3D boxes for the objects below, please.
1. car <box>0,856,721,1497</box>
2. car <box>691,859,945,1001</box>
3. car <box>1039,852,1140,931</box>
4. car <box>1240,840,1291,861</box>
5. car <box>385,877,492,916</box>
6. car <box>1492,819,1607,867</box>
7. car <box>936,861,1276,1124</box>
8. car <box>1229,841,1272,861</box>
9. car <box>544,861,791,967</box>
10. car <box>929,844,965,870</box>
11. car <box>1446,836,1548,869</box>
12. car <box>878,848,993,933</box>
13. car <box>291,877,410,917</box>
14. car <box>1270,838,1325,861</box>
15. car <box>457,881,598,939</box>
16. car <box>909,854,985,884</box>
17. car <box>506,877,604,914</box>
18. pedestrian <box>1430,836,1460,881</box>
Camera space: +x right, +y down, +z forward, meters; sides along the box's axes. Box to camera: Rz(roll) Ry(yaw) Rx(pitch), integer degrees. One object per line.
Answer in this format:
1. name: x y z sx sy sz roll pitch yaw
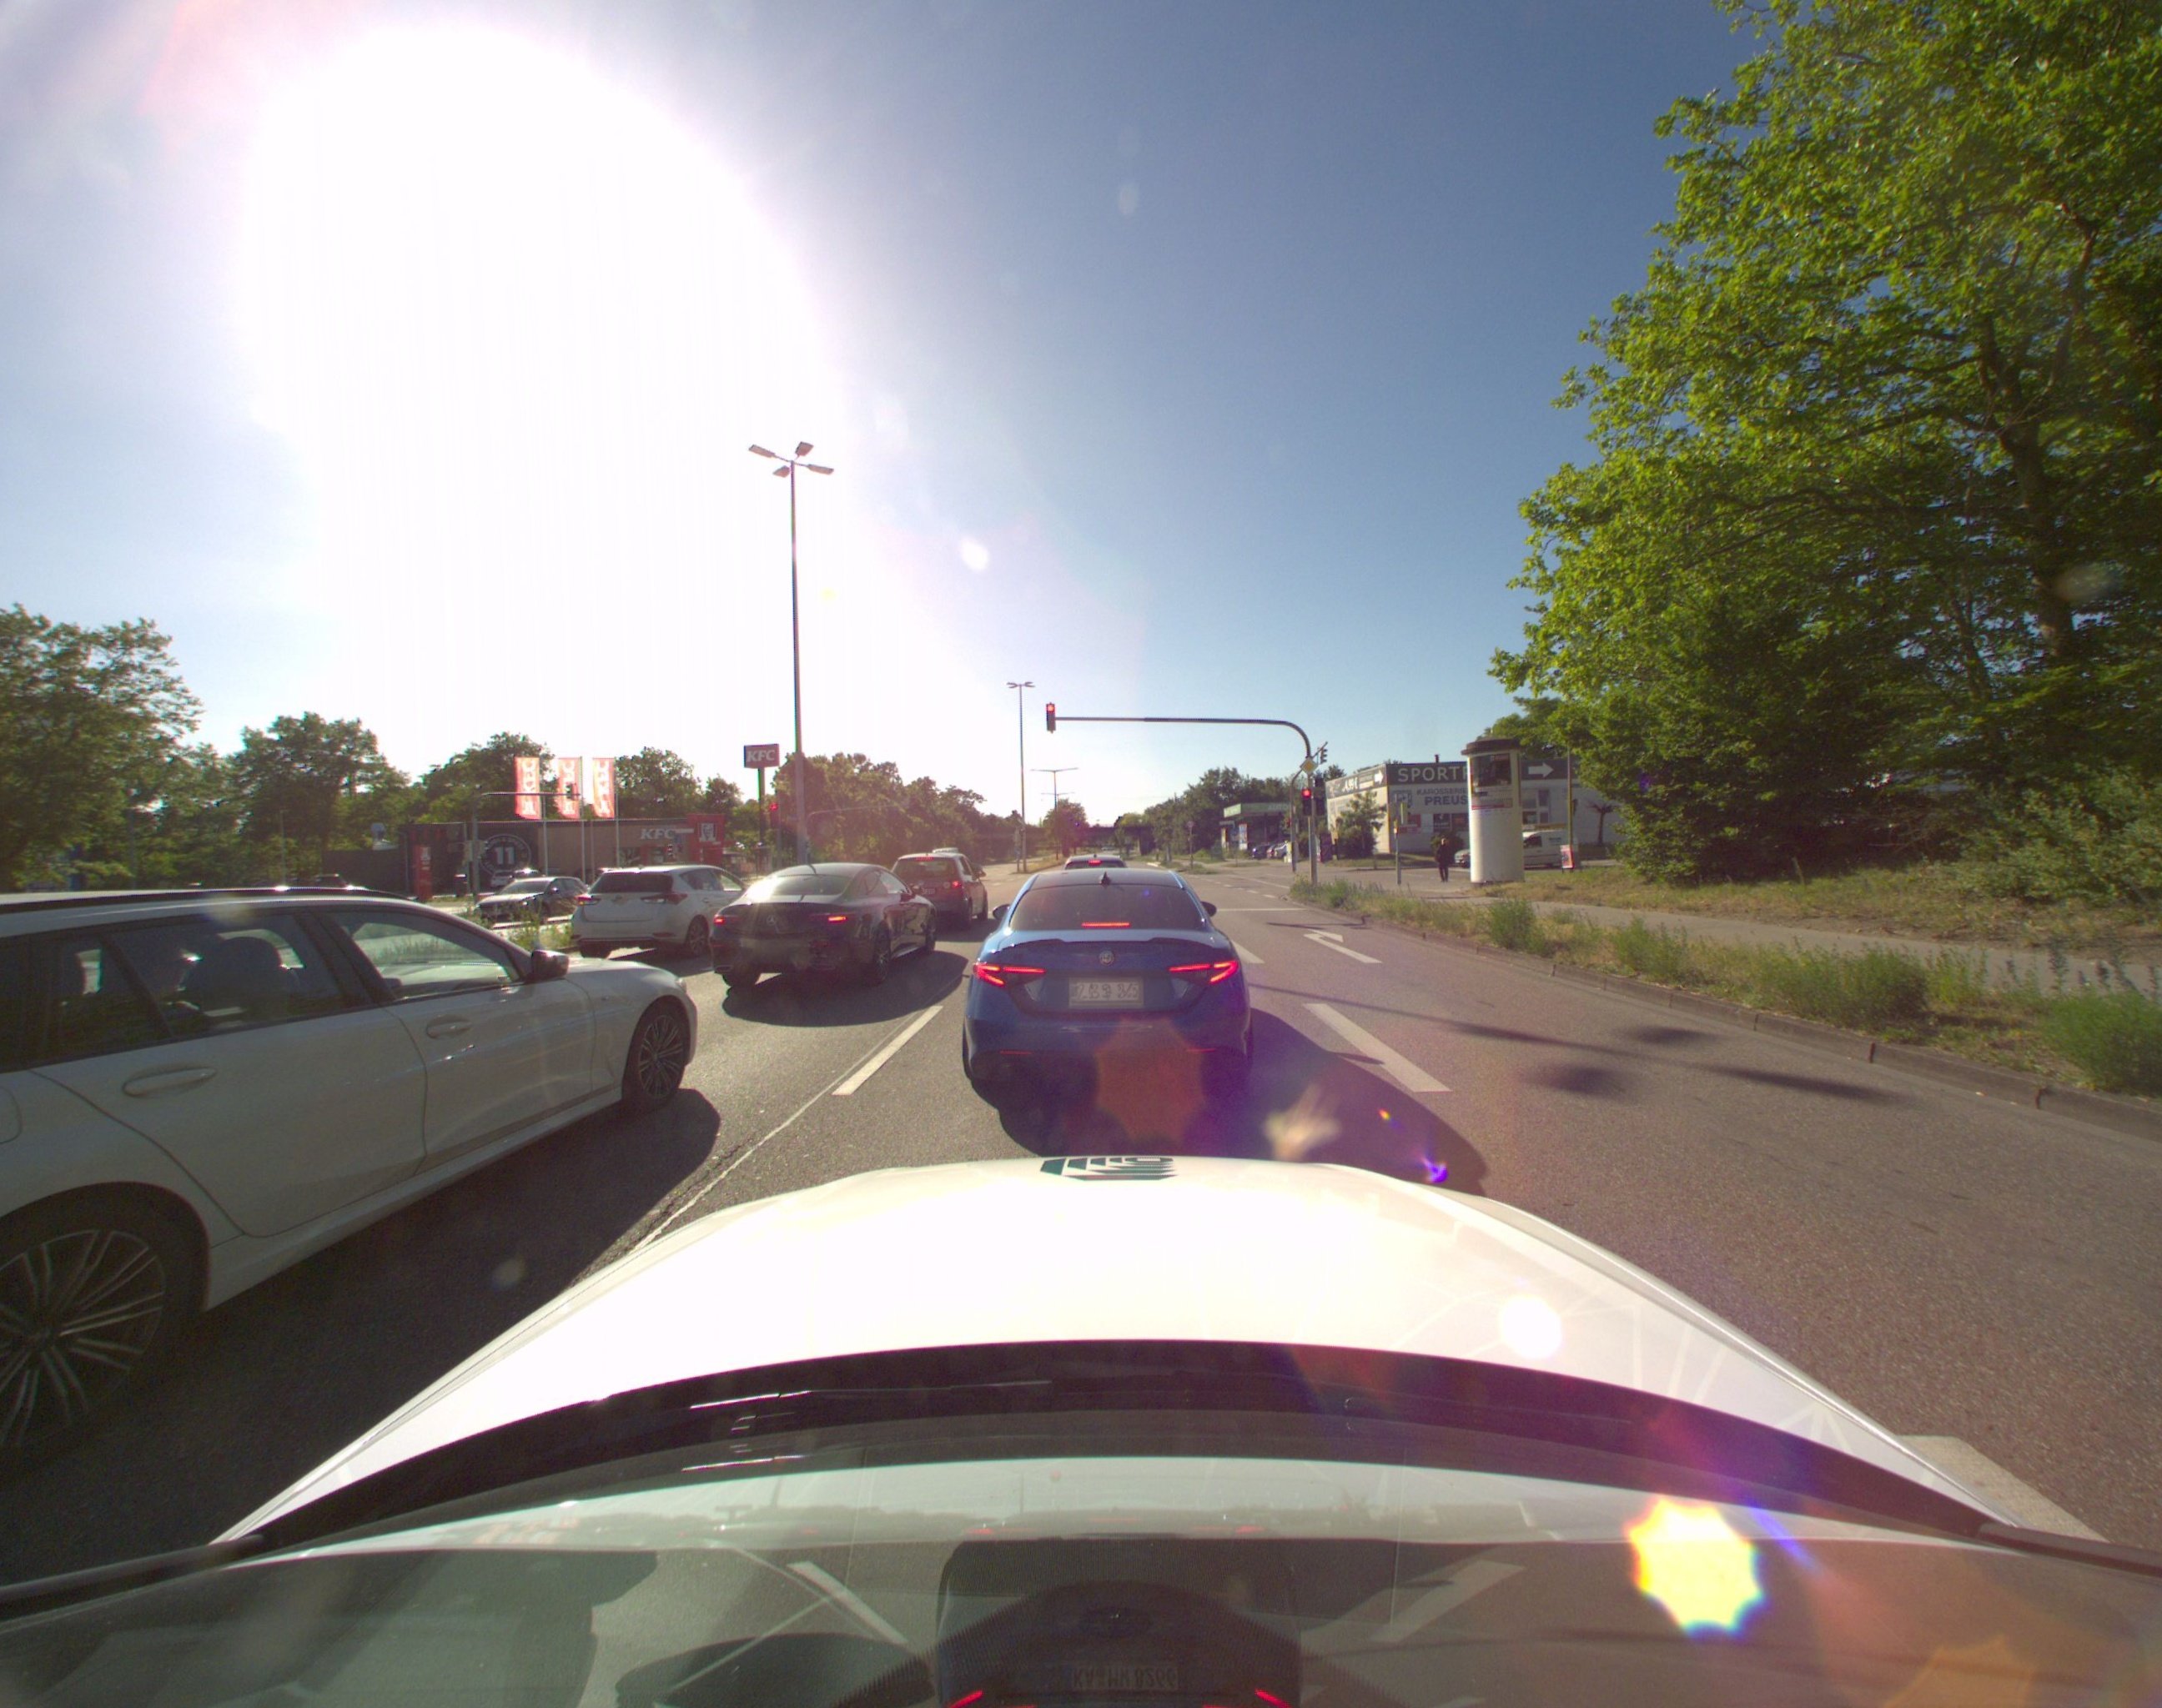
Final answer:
1. car: -3.432 0.797 3.344 1.762 1.509 4.463 -1 0 2
2. car: -3.145 0.813 10.816 1.762 1.414 4.463 -1 0 2
3. car: 0.229 0.701 17.180 1.859 1.450 3.933 -1 0 2
4. car: 16.036 -0.288 70.743 3.997 1.706 1.685 -1 0 -18
5. car: -33.067 2.174 41.970 4.051 1.794 2.005 -1 0 8
6. car: 22.628 -0.518 39.450 4.393 2.145 1.999 -1 0 -2
7. car: 0.199 0.788 6.482 1.859 1.385 3.933 -1 0 2
8. car: 15.378 -0.251 73.952 3.489 1.706 1.687 -1 0 -14
9. car: -6.796 0.894 14.039 1.850 1.429 4.405 -1 0 2
10. car: -13.370 0.305 81.591 2.422 2.427 5.833 -1 0 2
11. car: 21.949 -0.078 43.048 4.393 1.553 1.999 -1 0 -2
12. car: -3.020 0.699 17.729 1.642 1.598 3.933 -1 0 2
13. car: -34.406 2.010 38.427 3.972 1.728 1.759 -1 0 1
14. car: 17.506 -0.357 65.850 3.993 1.706 1.687 -1 0 -15
15. car: -17.088 1.682 25.416 1.816 1.429 4.042 -3 0 -6
16. car: -7.958 0.868 48.362 4.065 1.595 1.806 -2 0 -32
17. car: -22.883 1.756 35.388 4.674 1.429 1.875 -1 0 34
18. pedestrian: 14.239 0.182 31.860 0.818 1.721 0.856 -2 0 9
